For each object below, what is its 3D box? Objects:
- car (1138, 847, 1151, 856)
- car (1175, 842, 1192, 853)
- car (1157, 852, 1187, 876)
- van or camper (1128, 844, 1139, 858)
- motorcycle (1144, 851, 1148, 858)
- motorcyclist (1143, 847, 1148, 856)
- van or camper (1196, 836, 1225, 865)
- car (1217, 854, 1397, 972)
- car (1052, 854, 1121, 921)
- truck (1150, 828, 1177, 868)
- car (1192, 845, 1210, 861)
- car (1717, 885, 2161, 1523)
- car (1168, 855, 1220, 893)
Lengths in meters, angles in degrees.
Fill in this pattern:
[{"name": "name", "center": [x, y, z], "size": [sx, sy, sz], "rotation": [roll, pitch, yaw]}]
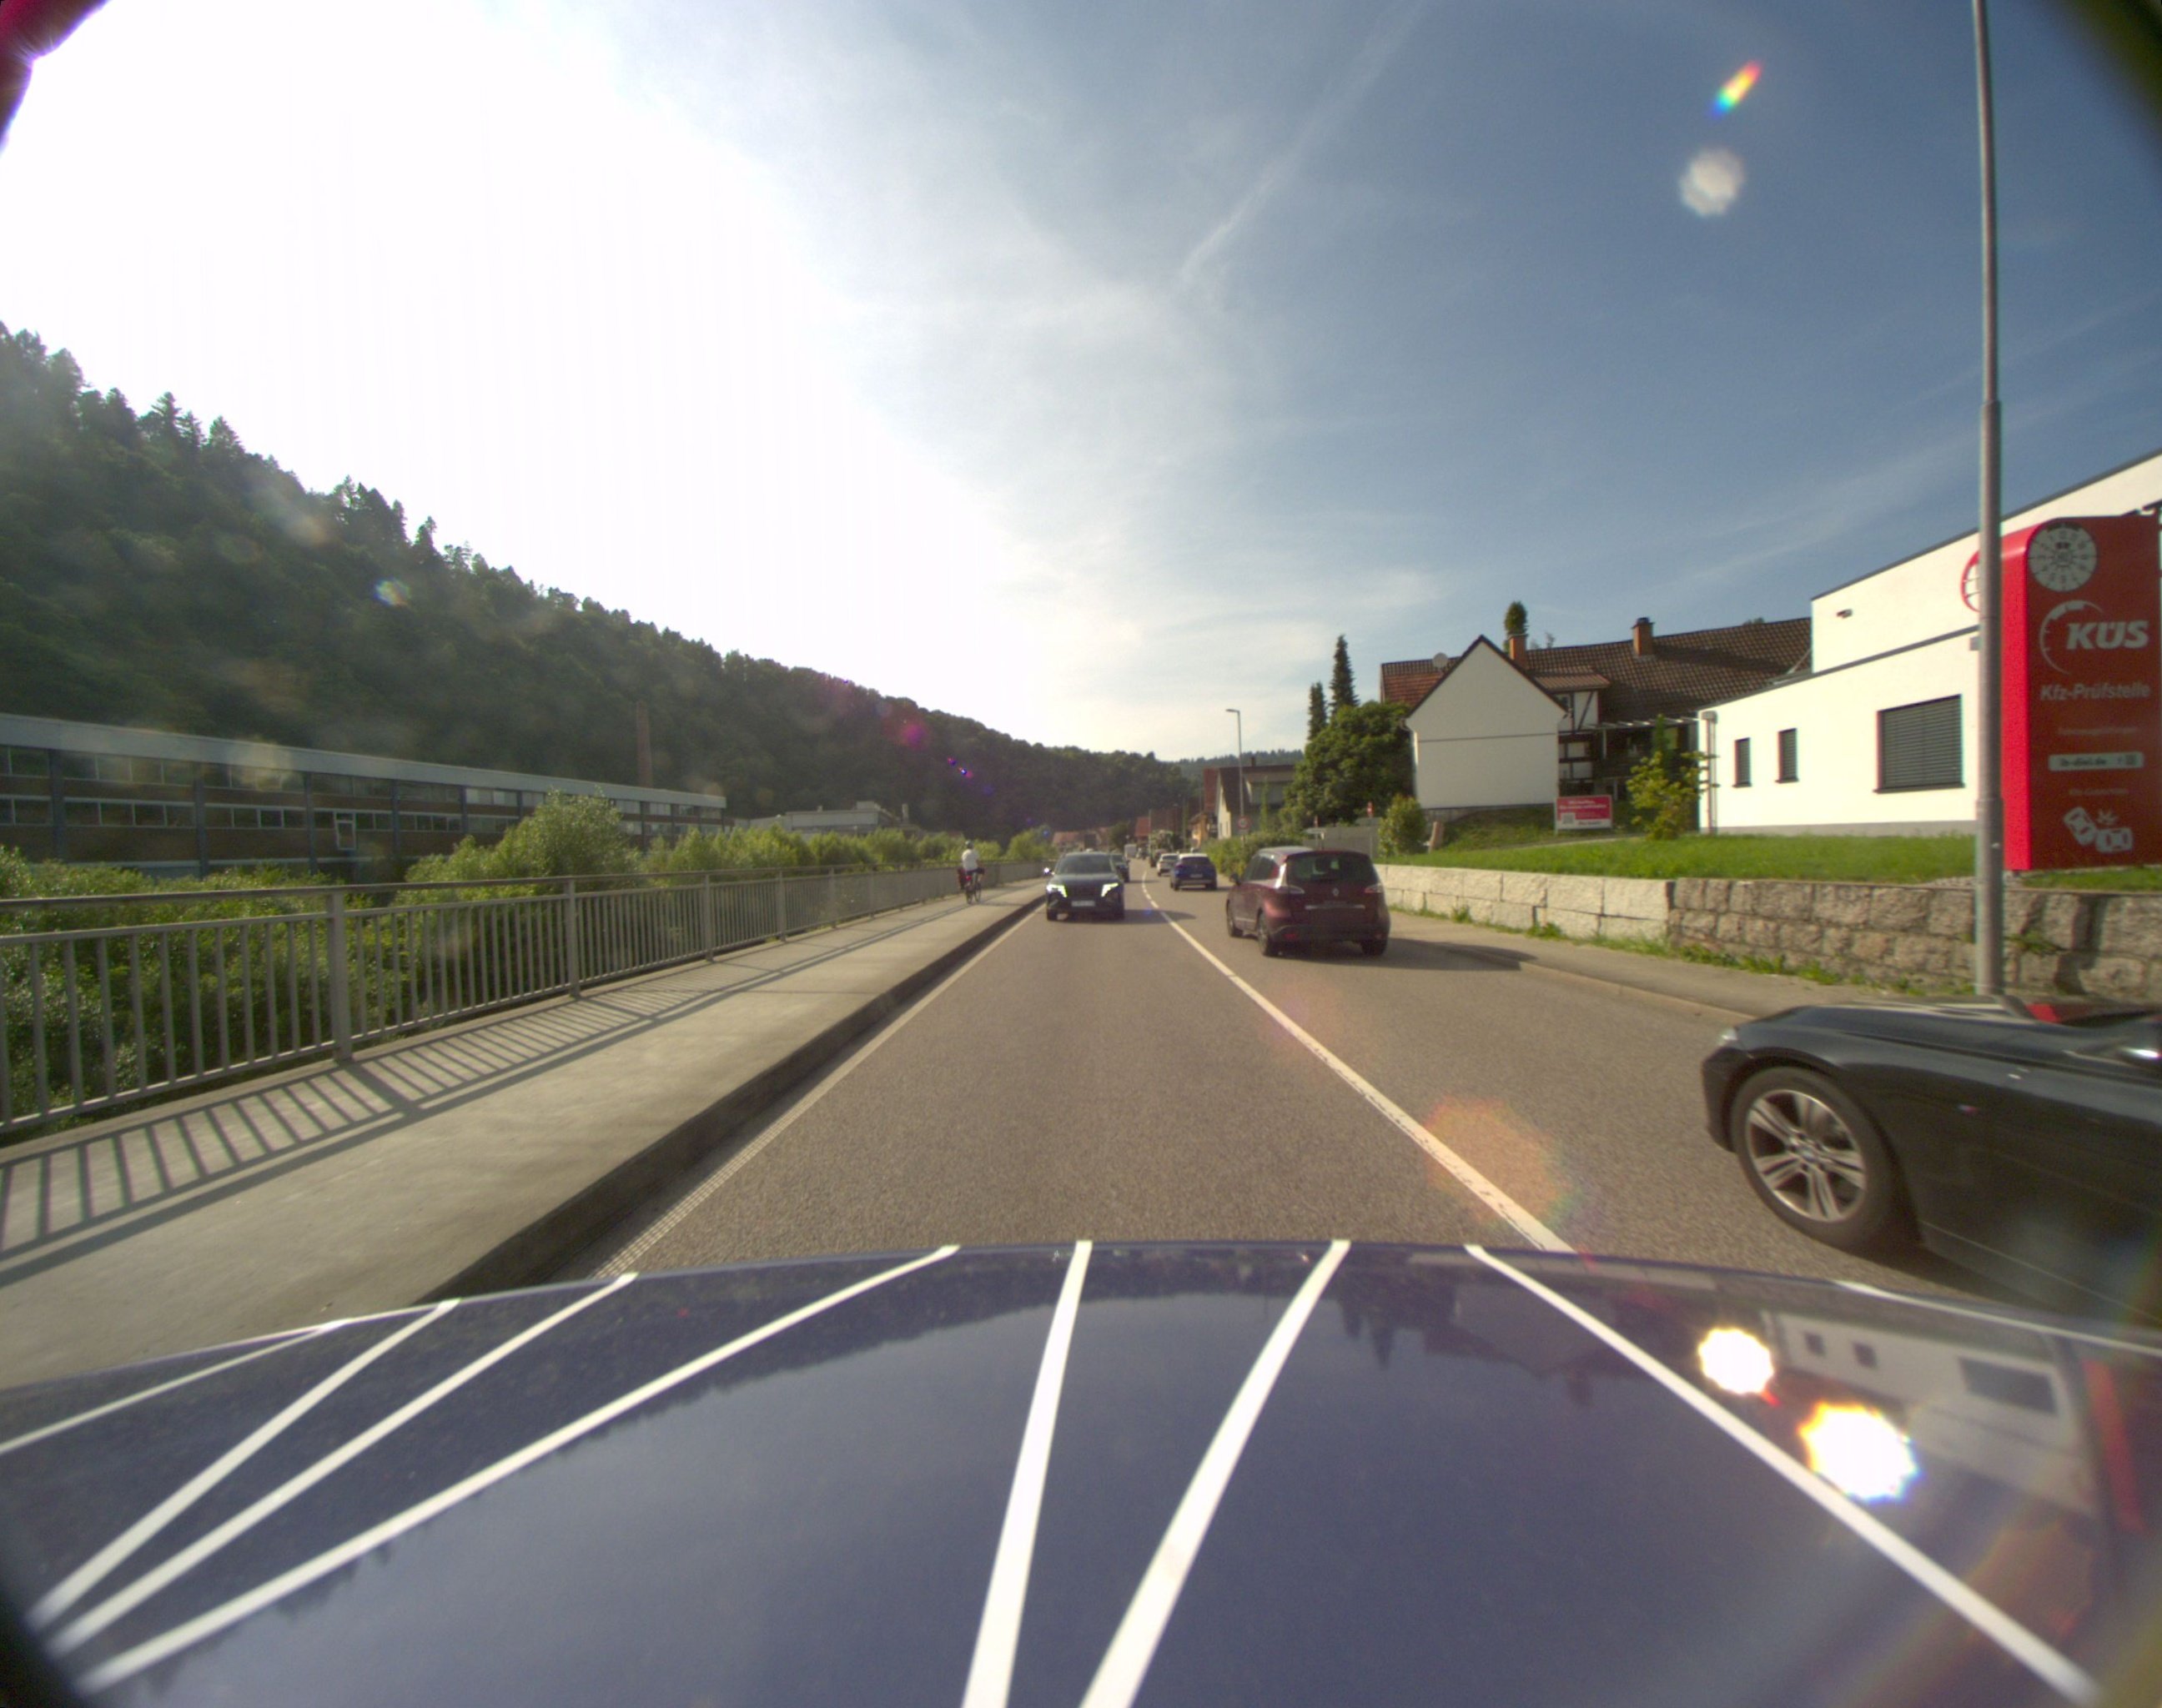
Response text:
[{"name": "car", "center": [11.999, -0.535, 143.595], "size": [1.633, 1.476, 4.003], "rotation": [-4, 1, 14]}, {"name": "car", "center": [15.206, -0.913, 112.842], "size": [1.889, 1.510, 4.236], "rotation": [-4, 0, 0]}, {"name": "car", "center": [6.268, 0.658, 52.706], "size": [1.753, 1.495, 4.191], "rotation": [-2, 0, 3]}, {"name": "van or camper", "center": [11.353, -0.627, 165.377], "size": [2.200, 2.921, 7.128], "rotation": [-3, 0, 4]}, {"name": "motorcycle", "center": [10.988, 0.112, 128.480], "size": [0.655, 1.062, 2.183], "rotation": [-2, 1, 8]}, {"name": "motorcyclist", "center": [10.900, -0.387, 128.120], "size": [0.827, 1.549, 0.628], "rotation": [-2, 1, 8]}, {"name": "van or camper", "center": [12.025, -0.334, 70.801], "size": [2.152, 2.540, 5.903], "rotation": [-2, 1, 6]}, {"name": "car", "center": [3.504, 0.818, 12.666], "size": [1.801, 1.608, 4.463], "rotation": [0, 0, 2]}, {"name": "car", "center": [0.055, 0.840, 20.710], "size": [1.649, 1.639, 3.999], "rotation": [0, 0, -3]}, {"name": "truck", "center": [8.738, -0.687, 81.833], "size": [2.583, 3.909, 11.309], "rotation": [-2, 1, 5]}, {"name": "car", "center": [14.193, -0.131, 89.847], "size": [1.904, 1.655, 4.269], "rotation": [-3, 1, 8]}, {"name": "car", "center": [3.467, 0.876, 0.929], "size": [1.778, 1.391, 4.233], "rotation": [-4, 0, 0]}, {"name": "car", "center": [4.800, 0.805, 32.804], "size": [1.748, 1.517, 4.000], "rotation": [-1, 0, 1]}]
